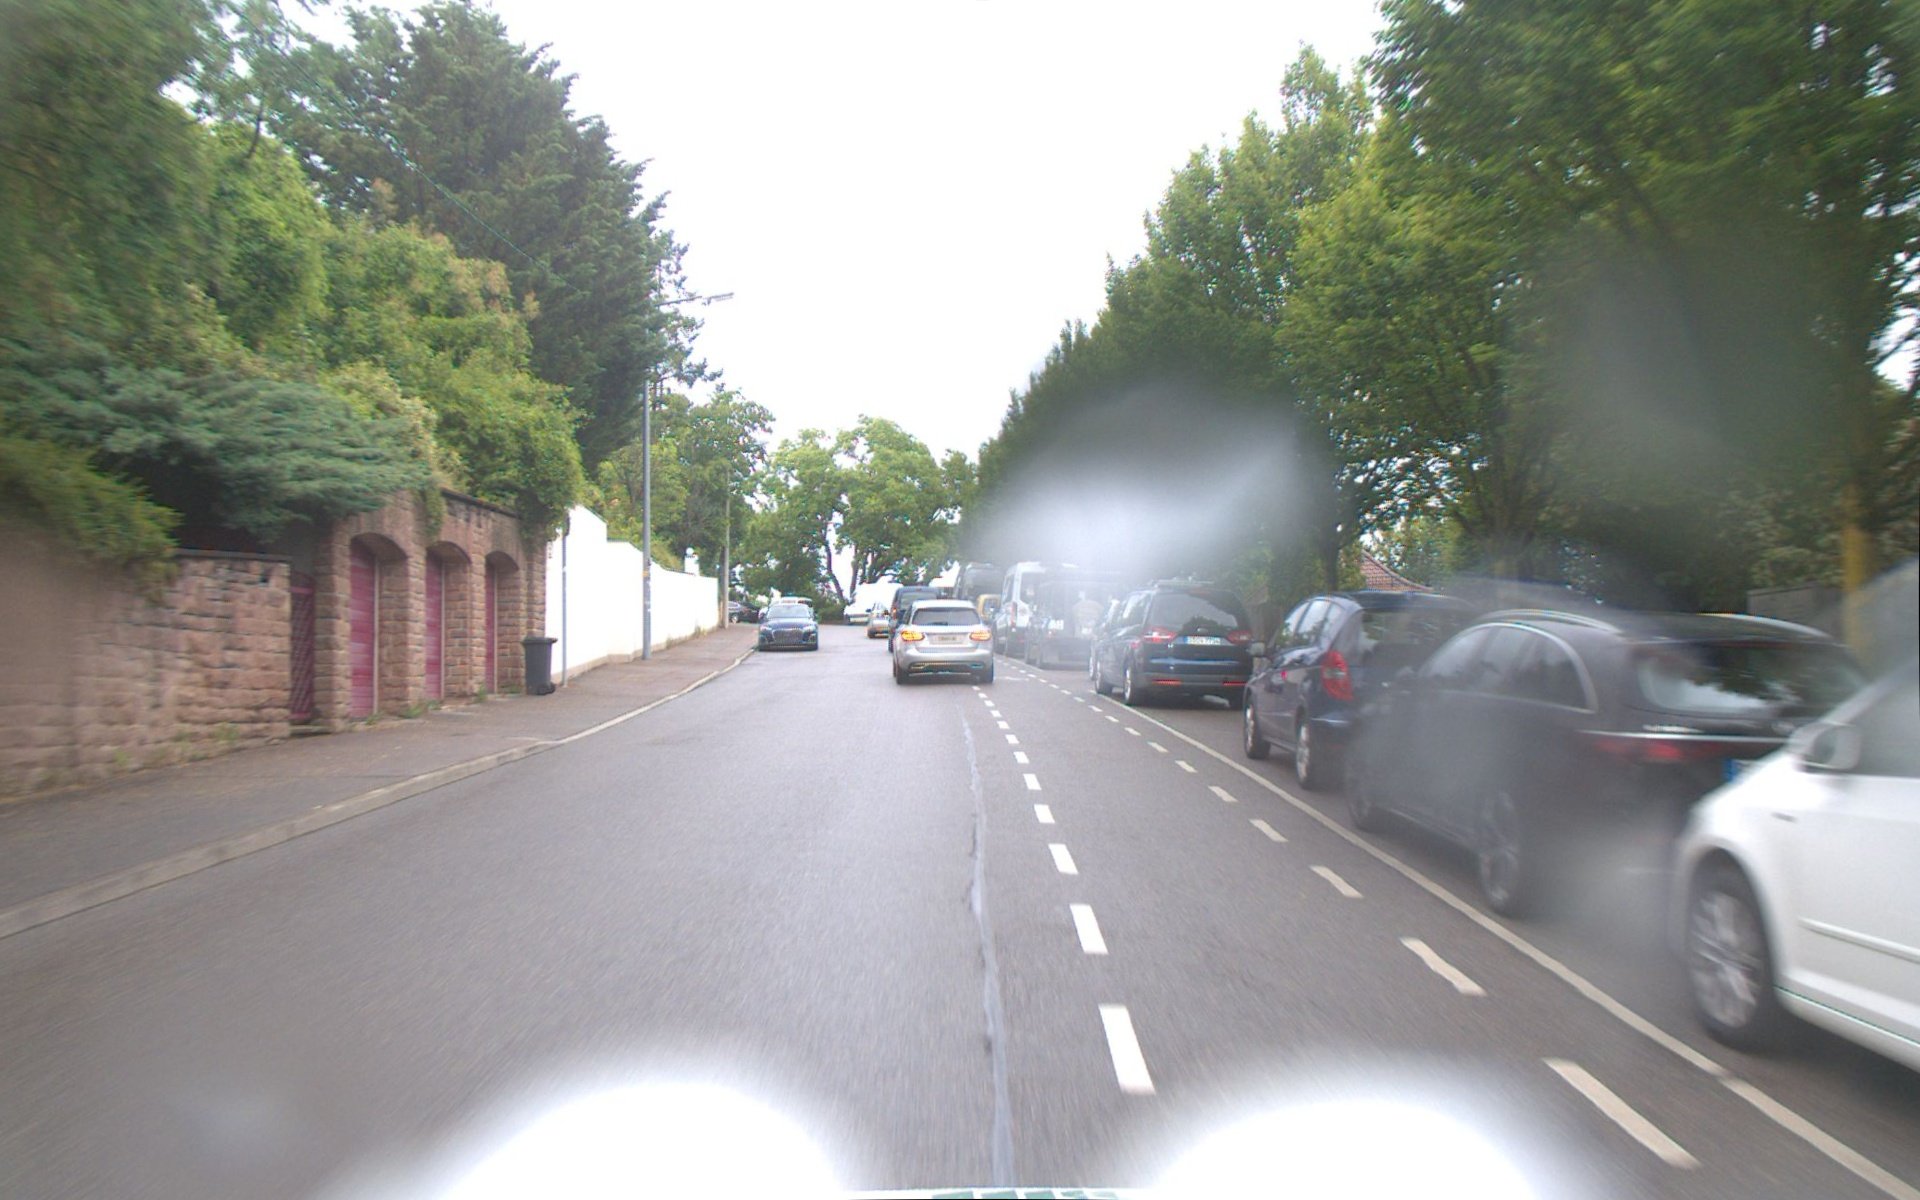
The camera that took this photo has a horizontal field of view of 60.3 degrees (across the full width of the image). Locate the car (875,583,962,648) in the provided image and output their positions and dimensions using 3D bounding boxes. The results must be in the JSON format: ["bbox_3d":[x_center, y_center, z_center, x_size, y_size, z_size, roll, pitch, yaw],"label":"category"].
[{"bbox_3d":[-1.248,0.469,47.926,1.957,1.738,3.991,2,-1,-9],"label":"car"}]

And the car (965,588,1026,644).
[{"bbox_3d":[1.217,0.551,58.908,1.693,1.816,4.272,4,0,-4],"label":"car"}]

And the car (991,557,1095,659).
[{"bbox_3d":[2.215,0.207,46.099,2.131,2.536,6.029,3,0,-3],"label":"car"}]

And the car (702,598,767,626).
[{"bbox_3d":[-15.939,0.814,116.737,4.585,1.727,1.959,3,0,41],"label":"car"}]

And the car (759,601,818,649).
[{"bbox_3d":[-5.280,0.743,51.410,1.714,1.381,4.420,-1,0,-5],"label":"car"}]

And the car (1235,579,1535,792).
[{"bbox_3d":[3.622,0.668,14.781,1.658,1.598,3.922,2,0,0],"label":"car"}]

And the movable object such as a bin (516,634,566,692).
[{"bbox_3d":[-6.911,1.034,27.318,0.645,0.935,0.677,1,0,-1],"label":"movable object such as a bin"}]

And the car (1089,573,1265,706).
[{"bbox_3d":[3.198,0.550,25.273,1.745,1.814,4.675,1,0,-4],"label":"car"}]

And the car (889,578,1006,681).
[{"bbox_3d":[-0.256,0.505,30.680,1.984,1.738,4.214,-1,0,-1],"label":"car"}]

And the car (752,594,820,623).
[{"bbox_3d":[-11.942,0.584,113.238,4.408,1.727,1.962,3,0,37],"label":"car"}]

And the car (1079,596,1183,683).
[{"bbox_3d":[3.277,0.732,32.133,1.565,1.585,2.953,1,0,-3],"label":"car"}]

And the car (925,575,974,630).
[{"bbox_3d":[-0.548,0.113,80.921,2.023,2.538,4.756,3,0,-4],"label":"car"}]

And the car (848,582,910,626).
[{"bbox_3d":[-5.128,0.218,103.803,2.101,2.571,4.454,3,0,-28],"label":"car"}]

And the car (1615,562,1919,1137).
[{"bbox_3d":[3.630,0.734,4.614,1.748,1.637,4.221,2,0,-3],"label":"car"}]

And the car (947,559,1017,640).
[{"bbox_3d":[0.800,-0.027,65.015,2.083,2.937,5.763,3,0,-5],"label":"car"}]

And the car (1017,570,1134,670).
[{"bbox_3d":[2.587,0.445,38.244,1.954,2.088,5.117,2,0,-4],"label":"car"}]

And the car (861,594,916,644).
[{"bbox_3d":[-2.689,0.733,62.294,1.953,1.738,3.998,2,-1,-2],"label":"car"}]

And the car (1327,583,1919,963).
[{"bbox_3d":[3.635,0.748,9.450,1.953,1.564,4.849,2,0,0],"label":"car"}]
